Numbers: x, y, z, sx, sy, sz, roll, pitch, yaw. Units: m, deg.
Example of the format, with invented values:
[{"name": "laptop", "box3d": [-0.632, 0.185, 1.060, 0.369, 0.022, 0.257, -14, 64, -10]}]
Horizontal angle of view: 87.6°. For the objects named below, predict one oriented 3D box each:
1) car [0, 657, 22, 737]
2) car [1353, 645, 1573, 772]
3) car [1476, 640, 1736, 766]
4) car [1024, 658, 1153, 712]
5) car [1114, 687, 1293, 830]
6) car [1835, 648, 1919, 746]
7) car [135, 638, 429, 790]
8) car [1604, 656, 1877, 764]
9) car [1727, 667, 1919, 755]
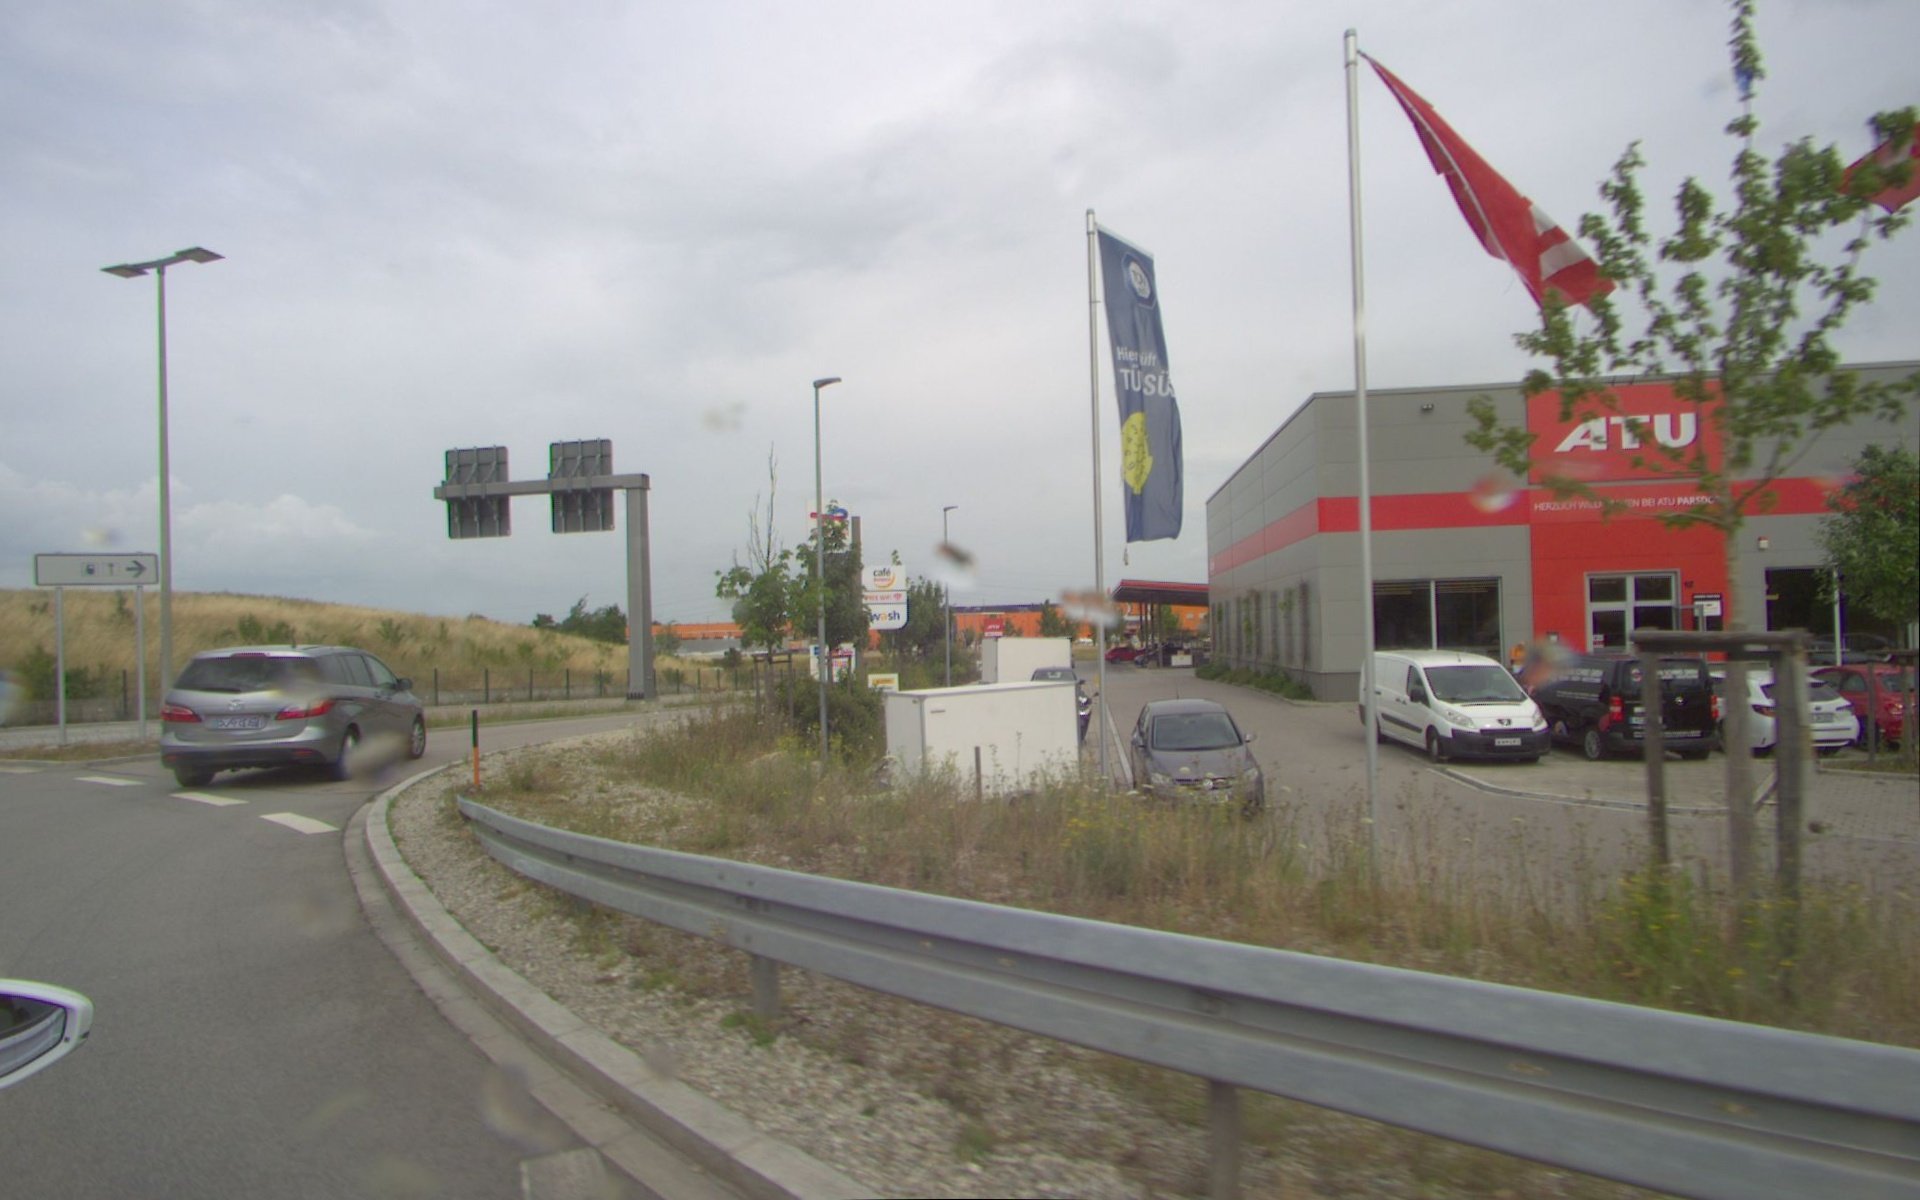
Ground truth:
[{"name": "car", "box3d": [-21.391, 1.922, 19.350, 1.753, 1.649, 4.422, 0, -3, 20]}, {"name": "car", "box3d": [9.516, 1.955, 19.526, 1.961, 2.073, 5.081, -1, -2, 3]}, {"name": "car", "box3d": [12.147, 1.841, 19.349, 1.961, 1.998, 5.080, -1, -1, 3]}, {"name": "car", "box3d": [4.030, 2.717, 31.861, 1.899, 1.592, 3.708, 3, -7, -42]}, {"name": "car", "box3d": [3.672, 2.372, 16.015, 1.927, 1.696, 4.838, -1, -2, 3]}, {"name": "car", "box3d": [19.027, 1.826, 18.838, 1.560, 1.858, 4.206, -1, -4, 3]}, {"name": "car", "box3d": [-8.292, 1.341, 12.732, 1.883, 1.593, 3.998, 0, -4, -16]}, {"name": "car", "box3d": [14.946, 2.032, 19.597, 1.878, 1.662, 4.676, -1, -1, 4]}, {"name": "car", "box3d": [17.247, 2.071, 19.477, 1.560, 1.517, 4.206, -1, -4, 3]}]
